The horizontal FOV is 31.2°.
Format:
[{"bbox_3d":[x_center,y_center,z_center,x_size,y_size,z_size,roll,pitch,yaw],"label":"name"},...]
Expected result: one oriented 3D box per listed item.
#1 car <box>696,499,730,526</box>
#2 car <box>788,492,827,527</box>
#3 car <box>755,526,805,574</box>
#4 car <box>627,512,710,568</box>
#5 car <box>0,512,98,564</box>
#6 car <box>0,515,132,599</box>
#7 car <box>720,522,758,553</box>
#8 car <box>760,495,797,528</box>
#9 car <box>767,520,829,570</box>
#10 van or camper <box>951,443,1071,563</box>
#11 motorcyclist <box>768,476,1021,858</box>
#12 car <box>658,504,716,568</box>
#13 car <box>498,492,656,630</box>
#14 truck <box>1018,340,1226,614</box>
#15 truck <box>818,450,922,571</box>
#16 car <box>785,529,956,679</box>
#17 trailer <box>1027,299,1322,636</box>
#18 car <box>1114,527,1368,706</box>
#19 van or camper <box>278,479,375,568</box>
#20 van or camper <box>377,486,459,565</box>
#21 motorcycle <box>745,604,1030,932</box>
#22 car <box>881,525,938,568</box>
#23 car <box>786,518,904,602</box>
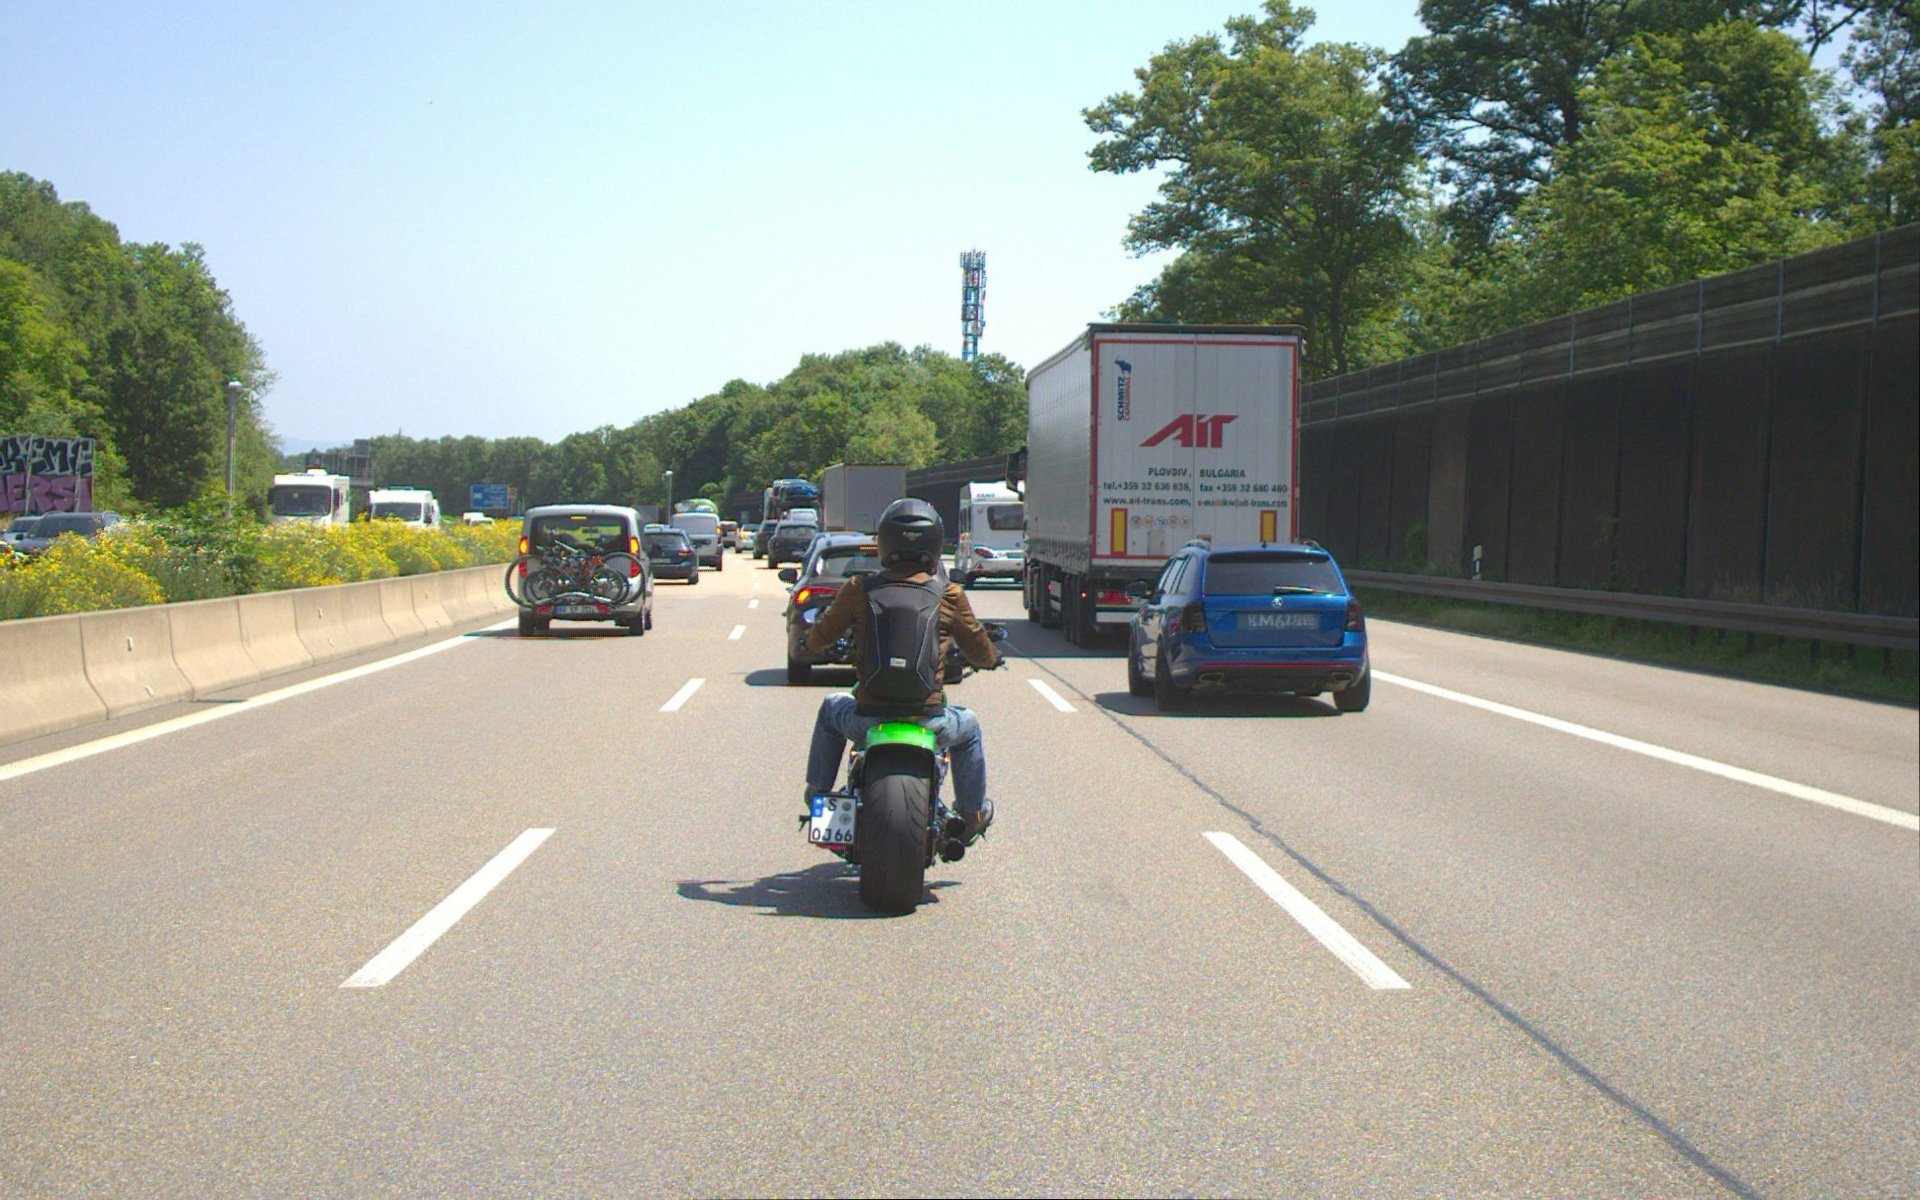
[{"bbox_3d":[-14.328,-5.076,199.587,1.832,1.491,3.744,0,0,-2],"label":"car"},{"bbox_3d":[-8.747,-5.170,196.581,2.107,1.870,4.001,0,0,-4],"label":"car"},{"bbox_3d":[-7.601,-2.098,144.666,1.911,2.007,3.691,0,0,-6],"label":"car"},{"bbox_3d":[-7.472,-1.514,88.338,1.993,1.382,4.000,0,0,-3],"label":"car"},{"bbox_3d":[-25.813,-1.779,97.152,1.993,1.427,4.192,0,1,-2],"label":"car"},{"bbox_3d":[-17.662,-0.858,67.222,1.993,1.581,4.273,0,1,-1],"label":"car"},{"bbox_3d":[-11.030,-3.125,171.570,1.832,1.491,3.744,0,0,-4],"label":"car"},{"bbox_3d":[-10.676,-5.206,202.094,2.107,1.870,4.001,0,0,-4],"label":"car"},{"bbox_3d":[-5.497,-1.843,116.507,1.993,1.634,4.001,0,0,-4],"label":"car"},{"bbox_3d":[1.203,-2.343,84.860,2.685,2.803,6.803,0,0,-1],"label":"van or camper"},{"bbox_3d":[-0.238,0.253,14.198,0.900,1.470,1.872,0,0,3],"label":"motorcyclist"},{"bbox_3d":[-8.864,-2.070,111.839,1.791,2.007,3.642,0,0,-3],"label":"car"},{"bbox_3d":[-5.396,-0.539,48.921,1.899,1.867,4.413,0,0,-2],"label":"car"},{"bbox_3d":[2.502,-1.928,54.979,2.885,4.132,5.986,0,1,-1],"label":"truck"},{"bbox_3d":[-3.876,-3.739,146.093,3.802,4.943,8.952,0,0,-5],"label":"truck"},{"bbox_3d":[-0.922,0.029,35.347,1.662,1.448,3.869,0,0,-1],"label":"car"},{"bbox_3d":[2.711,-1.747,48.143,2.885,4.024,13.797,0,1,-2],"label":"trailer"},{"bbox_3d":[2.429,0.120,30.686,1.650,1.477,4.482,0,0,-3],"label":"car"},{"bbox_3d":[-24.749,-2.930,134.659,2.539,3.306,9.003,0,0,-2],"label":"van or camper"},{"bbox_3d":[-20.353,-2.807,129.251,2.257,2.889,6.558,0,1,-2],"label":"van or camper"},{"bbox_3d":[-0.244,0.631,14.288,0.964,1.144,2.811,1,1,3],"label":"motorcycle"},{"bbox_3d":[-1.908,-2.002,129.629,1.993,1.568,4.000,0,0,-3],"label":"car"},{"bbox_3d":[-2.032,-0.688,60.077,1.993,1.425,3.848,0,0,-3],"label":"car"}]
